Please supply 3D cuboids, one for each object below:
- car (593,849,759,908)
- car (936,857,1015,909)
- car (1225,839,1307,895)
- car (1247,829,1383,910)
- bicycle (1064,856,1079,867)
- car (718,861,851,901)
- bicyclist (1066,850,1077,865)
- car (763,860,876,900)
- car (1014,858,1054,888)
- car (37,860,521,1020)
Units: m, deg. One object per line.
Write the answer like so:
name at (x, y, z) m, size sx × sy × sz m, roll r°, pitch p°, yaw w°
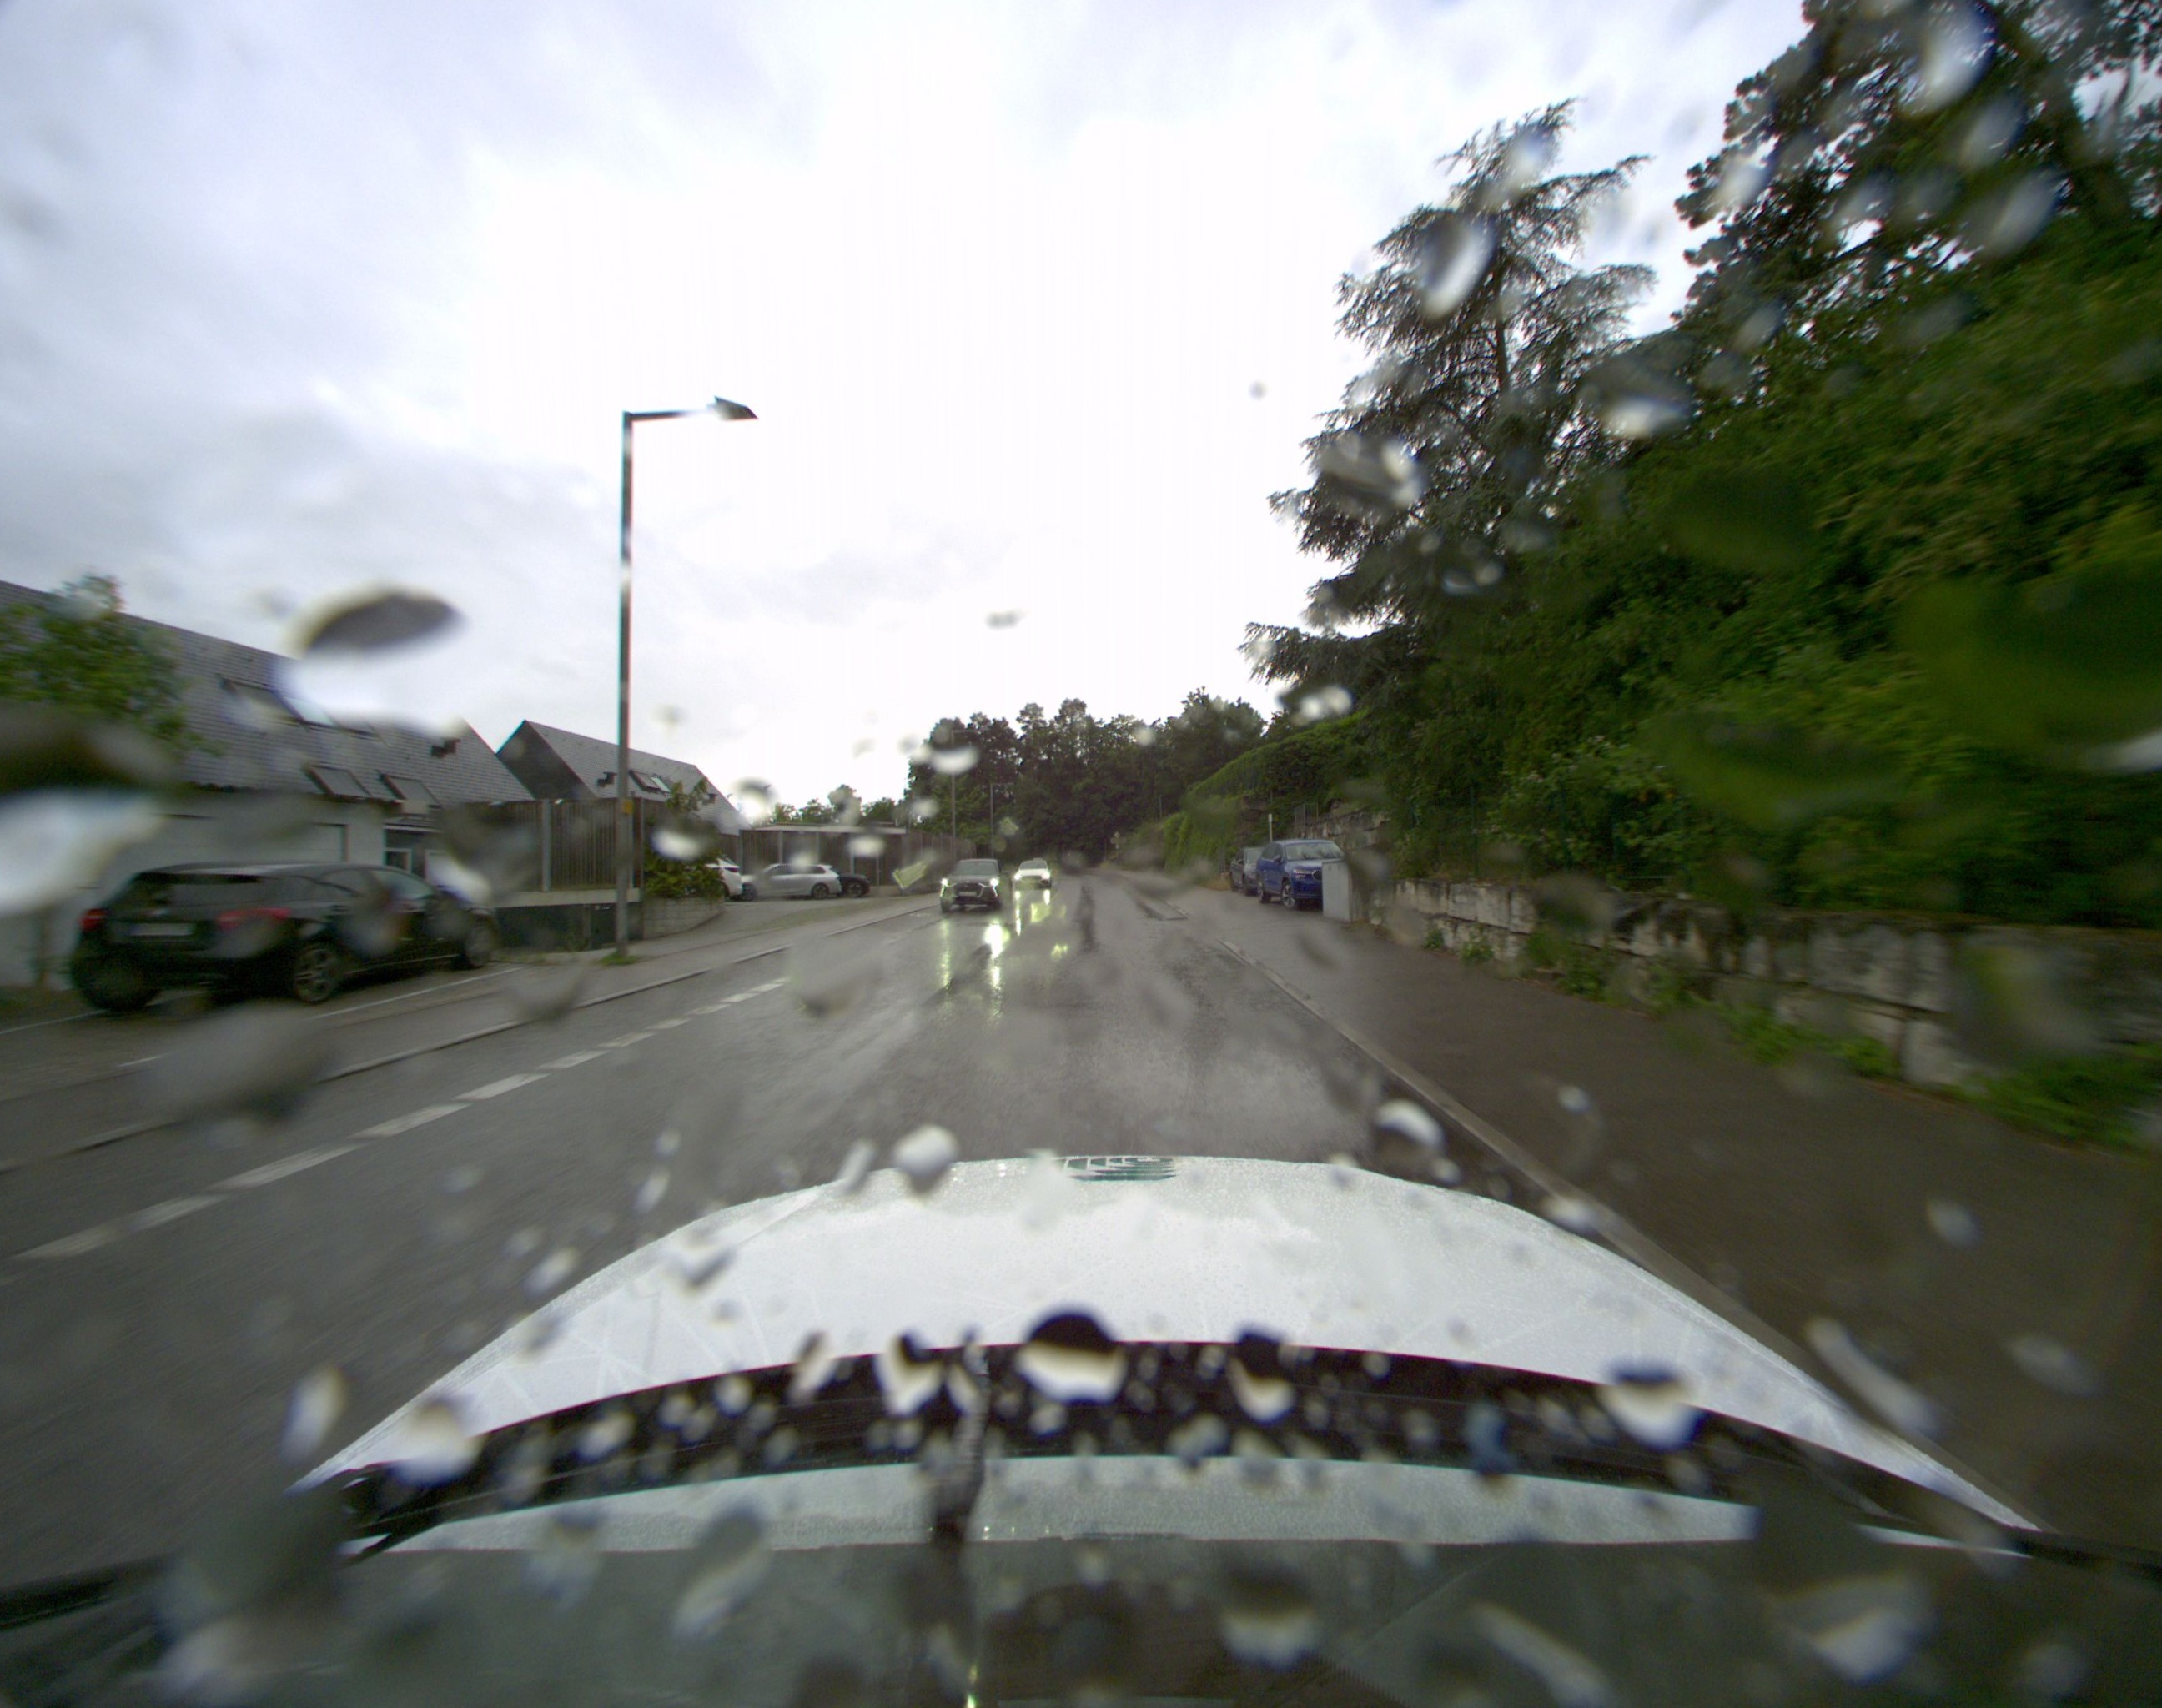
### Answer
car at (-11.900, 0.668, 24.011) m, size 4.078 × 1.574 × 1.920 m, roll 0°, pitch 0°, yaw -39°
car at (-3.152, 0.824, 25.002) m, size 1.844 × 1.469 × 3.700 m, roll -1°, pitch 0°, yaw 1°
car at (5.961, 0.393, 26.708) m, size 1.803 × 1.563 × 4.012 m, roll -4°, pitch 0°, yaw 2°
car at (5.686, 0.348, 20.478) m, size 1.988 × 1.670 × 4.542 m, roll -4°, pitch 0°, yaw -1°
bicycle at (-1.063, 0.819, 90.459) m, size 1.600 × 1.084 × 0.532 m, roll 4°, pitch 4°, yaw 40°
car at (-11.435, 1.017, 31.601) m, size 4.555 × 1.442 × 1.741 m, roll 1°, pitch -1°, yaw -38°
bicyclist at (-1.088, 0.393, 90.481) m, size 0.894 × 1.614 × 0.727 m, roll 4°, pitch 4°, yaw 39°
car at (-11.256, 1.068, 35.146) m, size 4.310 × 1.601 × 1.818 m, roll 0°, pitch 0°, yaw -34°
car at (-2.426, 0.966, 43.132) m, size 1.841 × 1.460 × 4.267 m, roll 0°, pitch 0°, yaw 0°
car at (-8.720, 0.785, 9.530) m, size 1.833 × 1.405 × 4.248 m, roll -1°, pitch 0°, yaw -8°
